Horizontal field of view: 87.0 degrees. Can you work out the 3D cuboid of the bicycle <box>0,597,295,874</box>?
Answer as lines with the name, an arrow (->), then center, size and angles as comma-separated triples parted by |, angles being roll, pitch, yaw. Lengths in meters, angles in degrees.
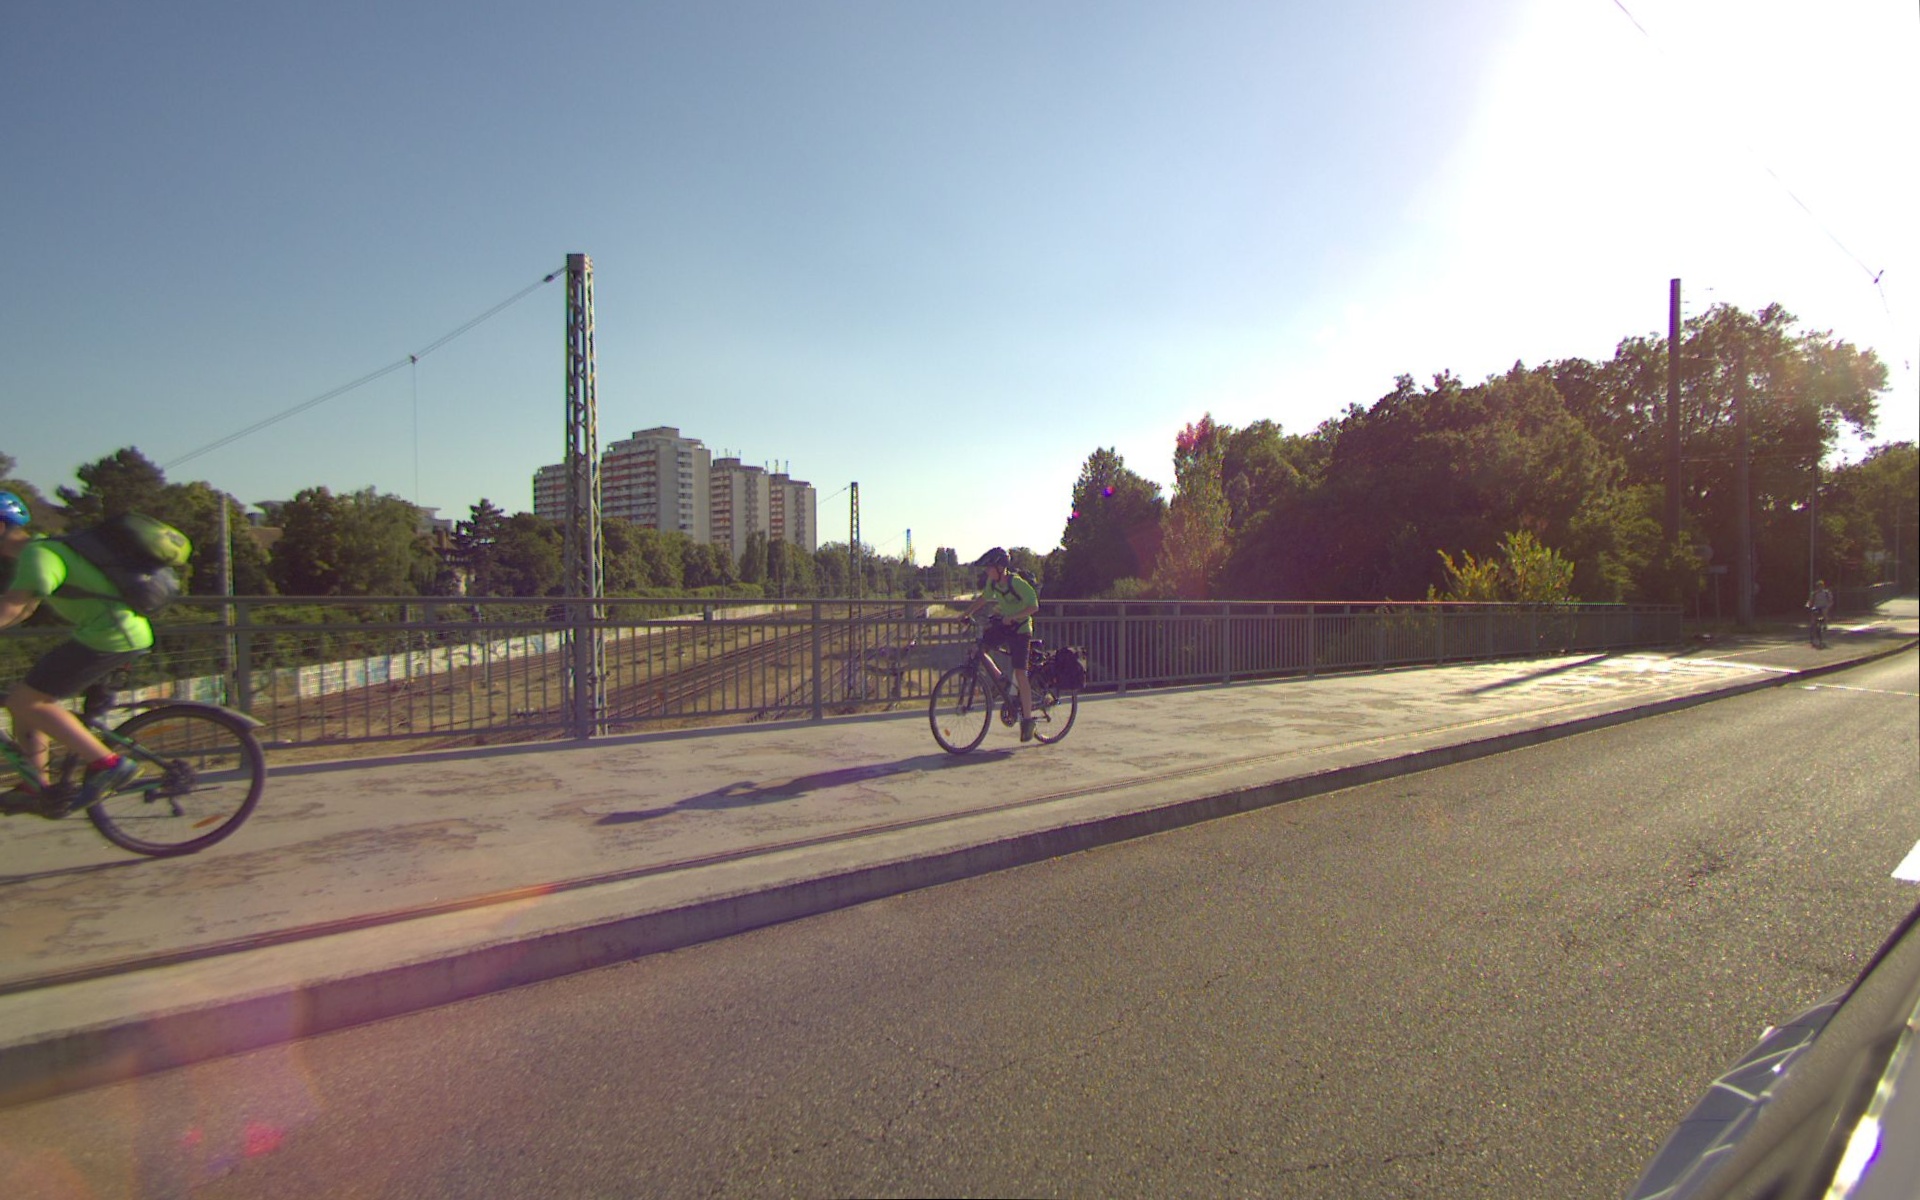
bicycle -> -4.211, 0.578, 4.511 | 2.006, 1.136, 0.626 | -2, 1, -41

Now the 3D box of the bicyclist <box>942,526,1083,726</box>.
bicyclist -> 0.445, 0.203, 8.580 | 0.881, 1.582, 0.813 | 0, 0, -41

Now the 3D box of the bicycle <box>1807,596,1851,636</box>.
bicycle -> 26.370, 0.468, 30.687 | 2.697, 1.137, 0.731 | -1, -1, -44

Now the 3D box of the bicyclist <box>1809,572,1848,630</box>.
bicyclist -> 26.364, 0.016, 30.726 | 1.182, 1.711, 0.731 | -1, -2, -44

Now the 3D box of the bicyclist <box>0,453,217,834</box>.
bicyclist -> -4.058, 0.176, 4.697 | 0.915, 1.612, 0.626 | -1, 1, -41

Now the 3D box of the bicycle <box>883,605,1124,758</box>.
bicycle -> 0.425, 0.618, 8.572 | 2.177, 1.137, 0.684 | 0, 0, -41
